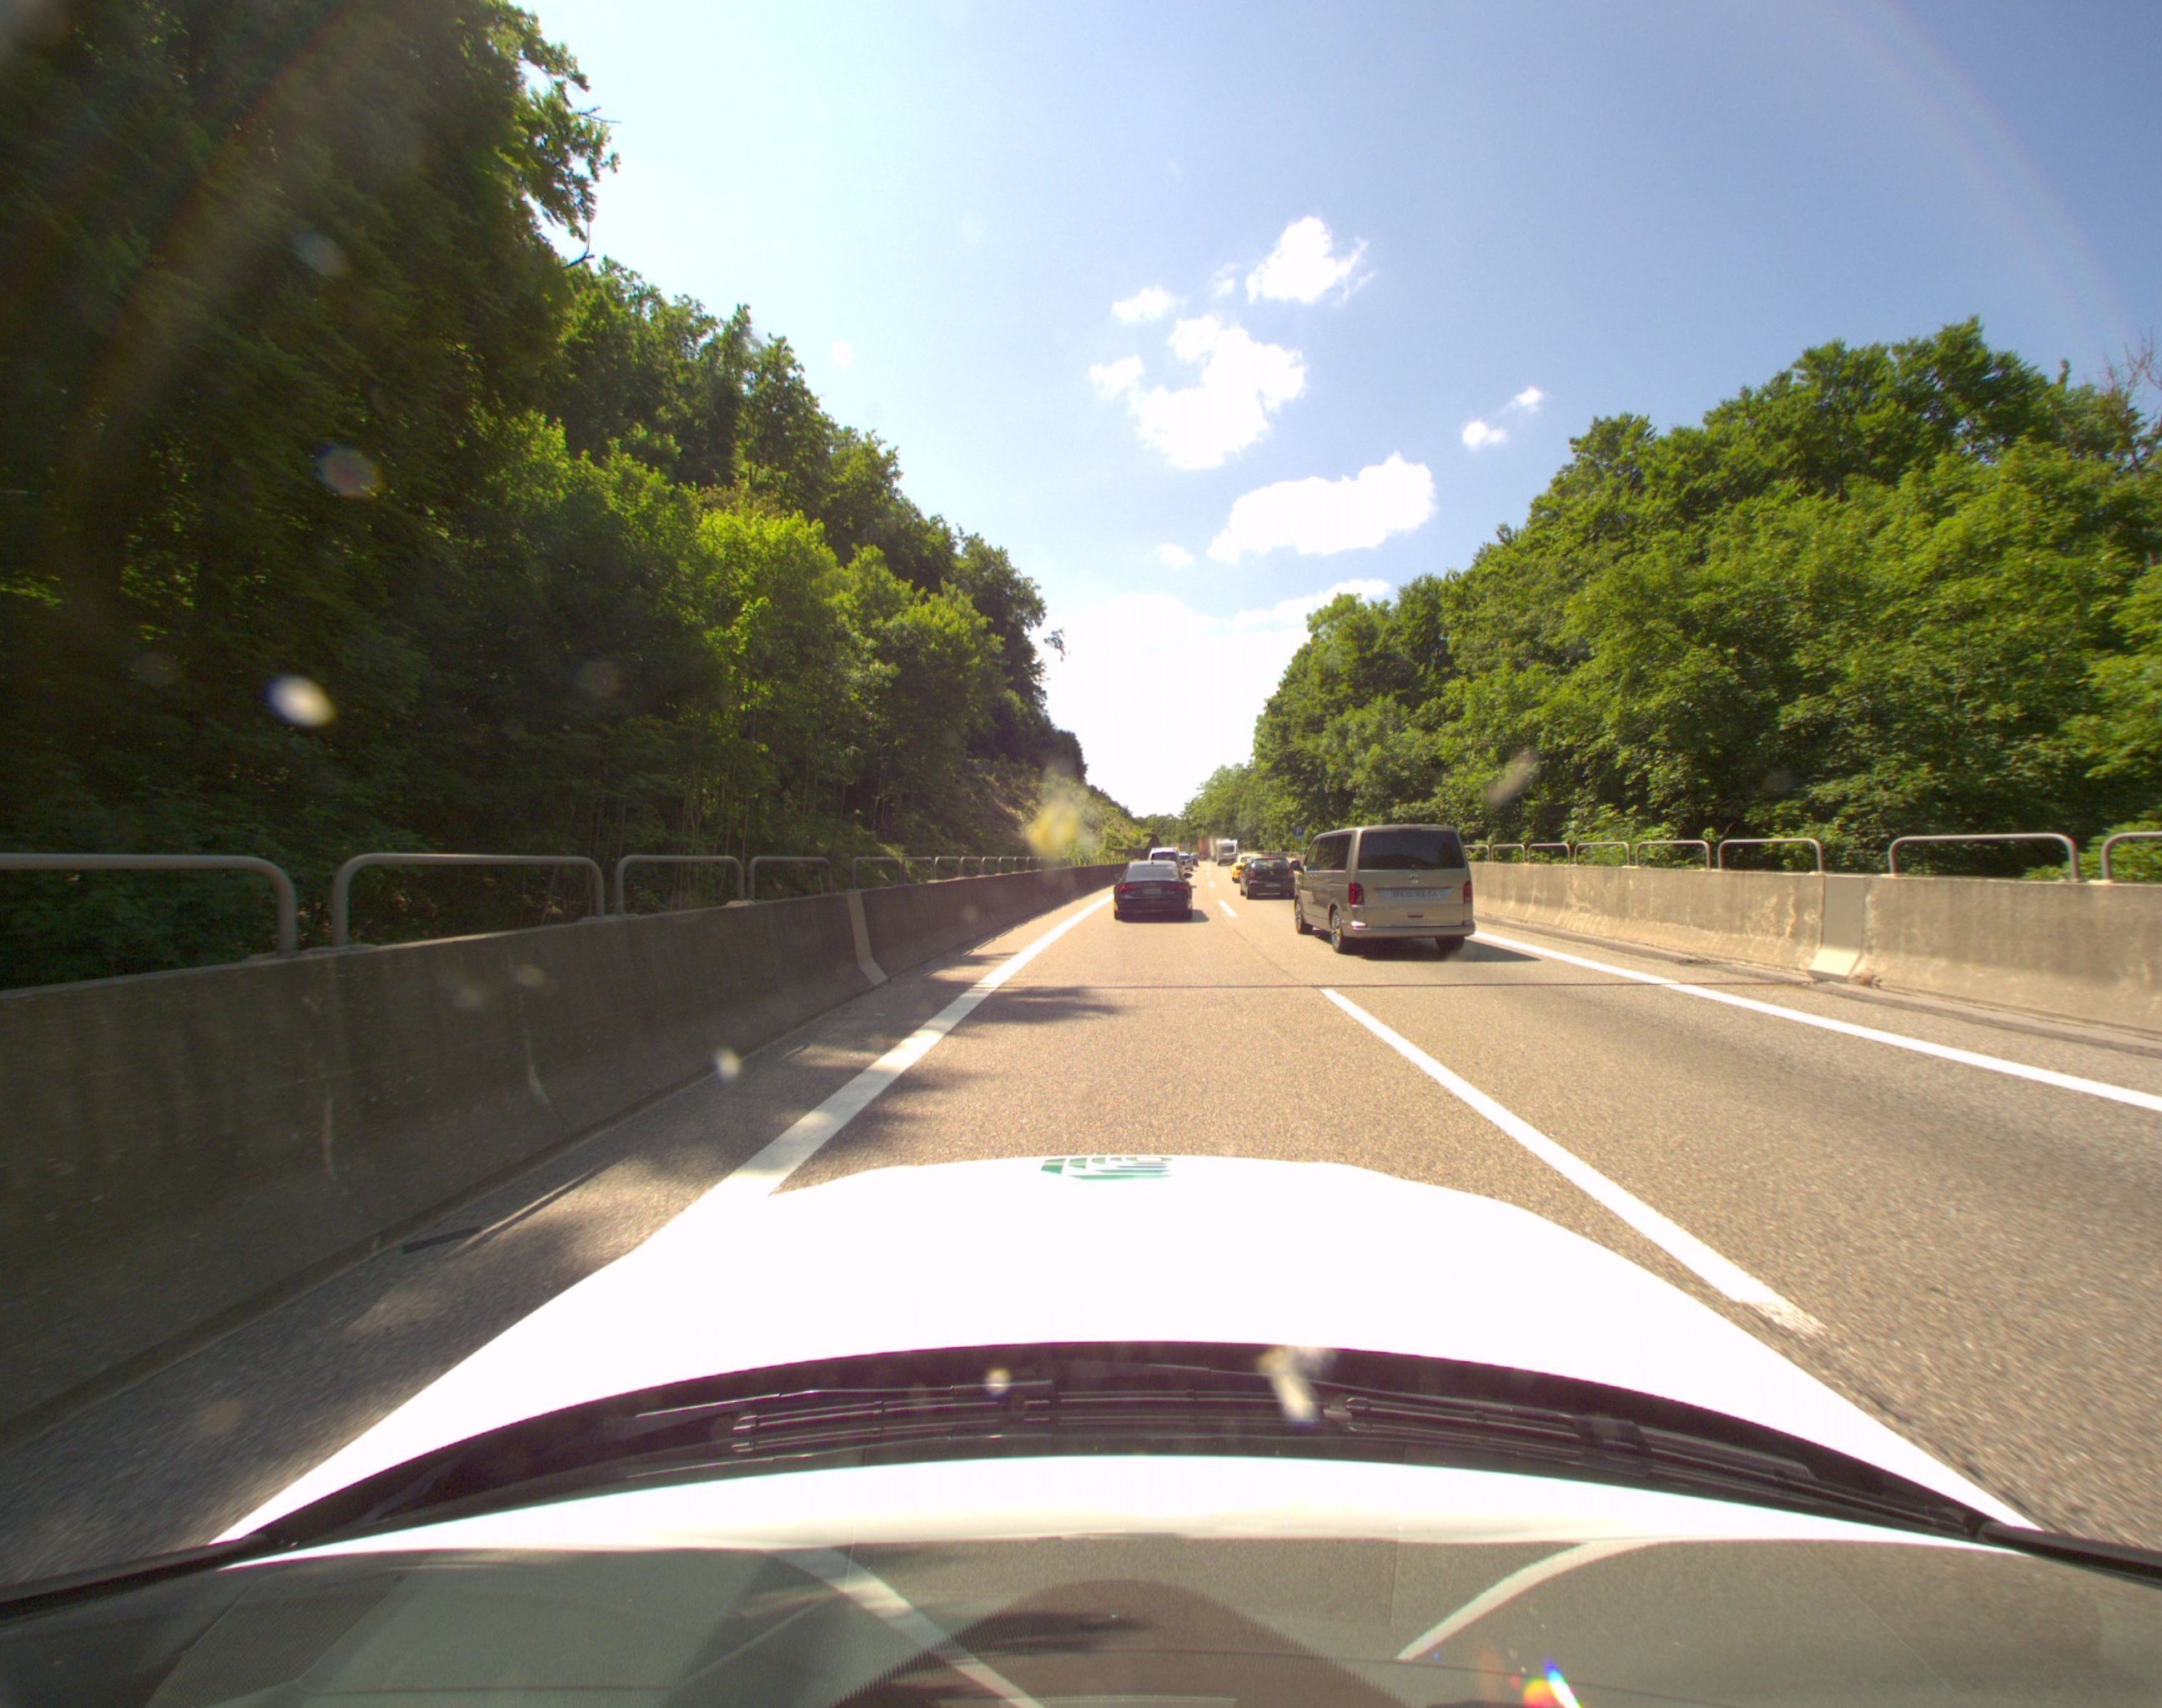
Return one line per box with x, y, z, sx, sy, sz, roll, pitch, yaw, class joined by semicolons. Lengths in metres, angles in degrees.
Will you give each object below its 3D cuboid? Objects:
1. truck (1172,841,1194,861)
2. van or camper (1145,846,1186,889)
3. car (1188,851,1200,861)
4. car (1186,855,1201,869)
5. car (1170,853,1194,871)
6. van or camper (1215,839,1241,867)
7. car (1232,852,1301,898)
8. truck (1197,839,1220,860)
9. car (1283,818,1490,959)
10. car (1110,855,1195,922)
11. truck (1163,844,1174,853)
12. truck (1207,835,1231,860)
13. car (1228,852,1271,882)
23.145;-0.703;185.512;3.701;4.504;7.718;-1;0;-2;truck
4.133;0.610;39.537;1.844;1.942;4.173;-1;0;7;van or camper
23.050;0.437;166.287;1.985;1.860;4.003;-1;0;3;car
13.138;0.881;95.040;1.741;1.571;3.779;-1;0;8;car
8.975;0.699;72.366;1.886;1.584;3.775;-1;0;4;car
15.967;-0.097;88.668;2.588;2.855;6.351;-1;0;9;van or camper
6.358;0.674;28.248;1.678;1.458;4.004;-1;0;3;car
22.760;-0.774;146.119;3.150;3.468;8.228;-1;0;3;truck
4.855;0.497;13.758;1.932;1.931;4.698;-1;0;3;car
1.734;0.792;20.792;1.897;1.489;4.382;-1;0;3;car
18.930;-1.177;176.462;1.986;2.013;4.001;-1;0;1;truck
21.100;-0.992;124.679;2.911;3.687;7.734;-1;0;5;truck
8.670;0.641;42.181;1.799;1.478;4.089;-1;0;6;car
